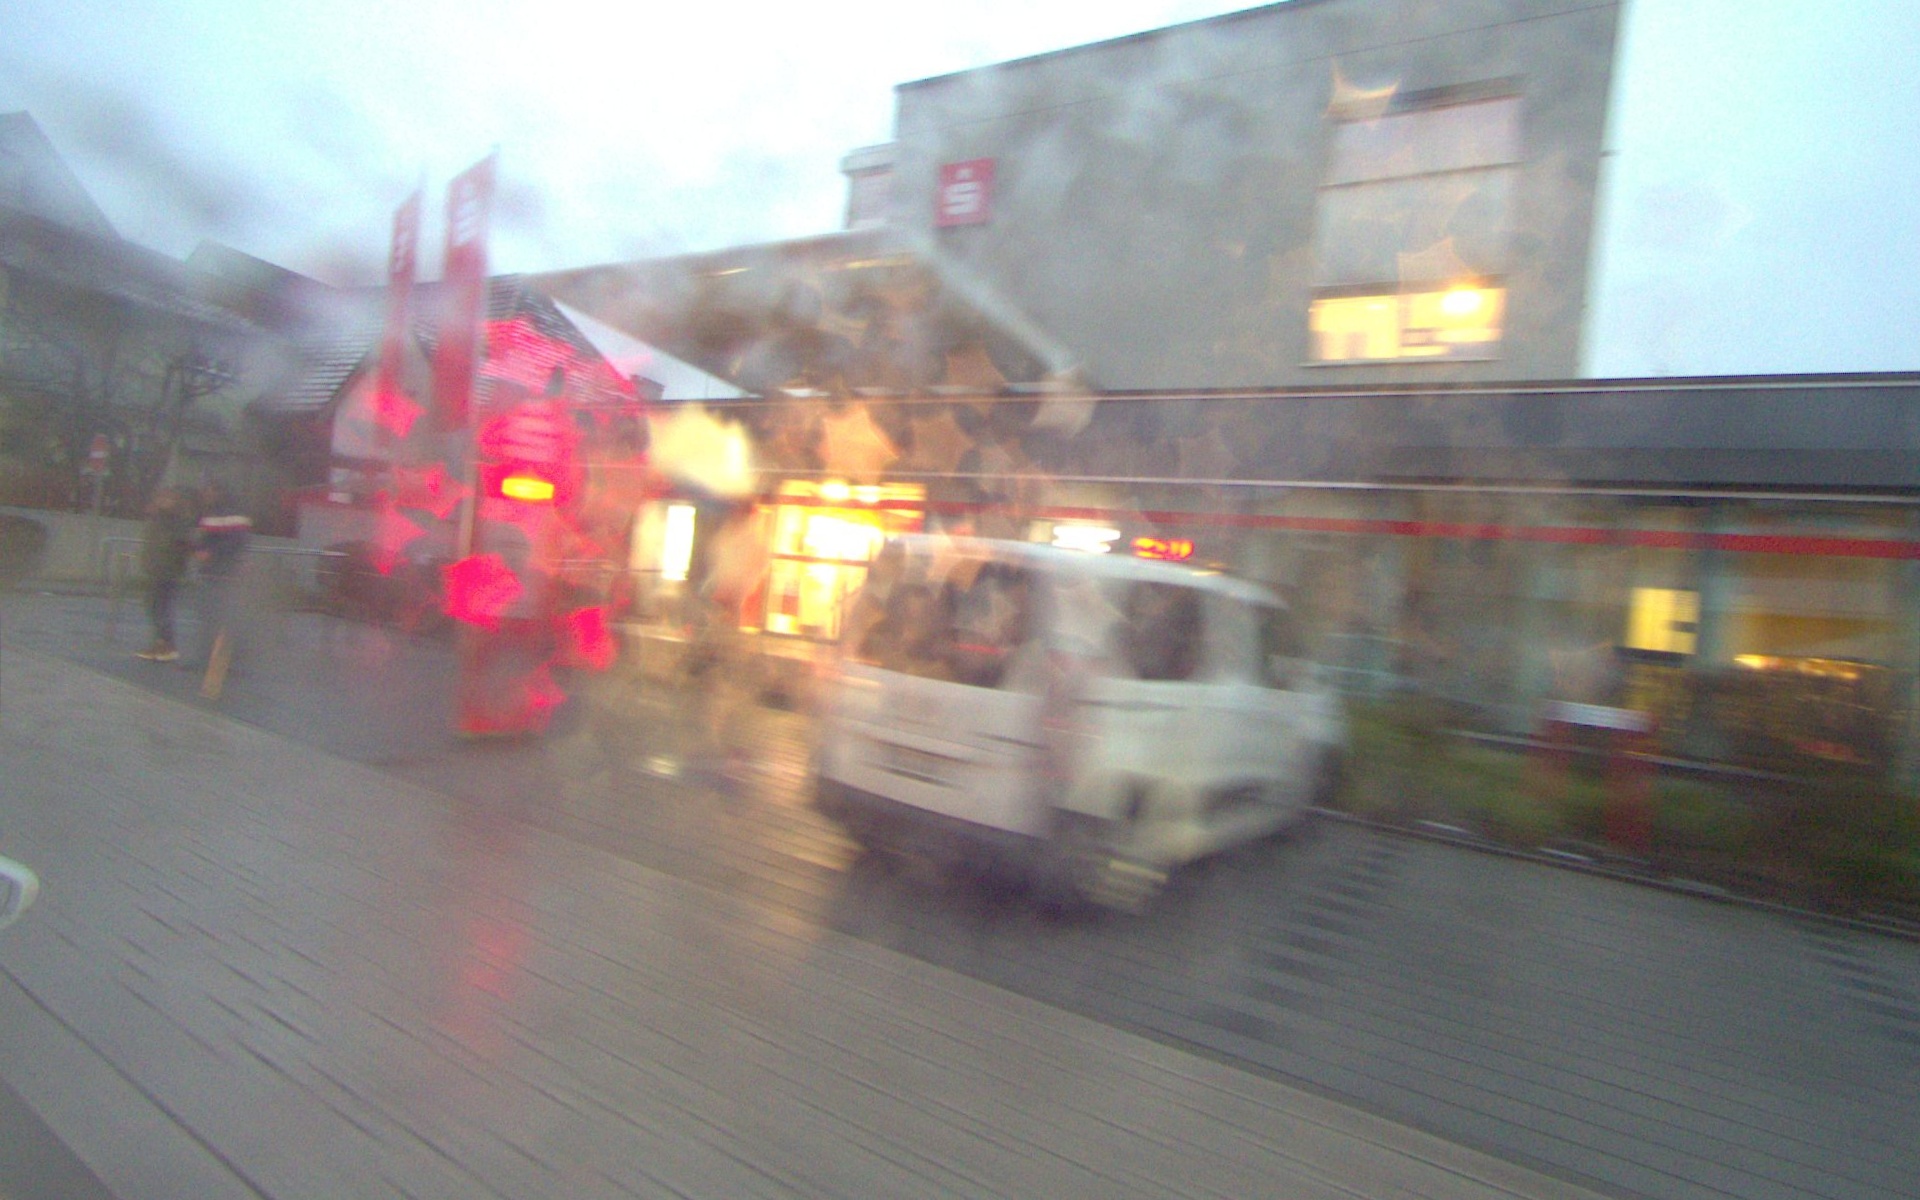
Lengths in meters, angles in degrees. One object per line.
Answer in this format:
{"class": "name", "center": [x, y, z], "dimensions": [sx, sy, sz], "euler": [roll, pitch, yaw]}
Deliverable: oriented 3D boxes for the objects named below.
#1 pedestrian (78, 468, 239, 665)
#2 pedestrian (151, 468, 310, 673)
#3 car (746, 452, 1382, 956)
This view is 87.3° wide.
{"class": "pedestrian", "center": [-7.524, -0.299, 9.457], "dimensions": [0.831, 1.727, 0.837], "euler": [7, 2, 30]}
{"class": "pedestrian", "center": [-6.611, -0.257, 9.128], "dimensions": [0.899, 1.726, 0.705], "euler": [7, 1, 26]}
{"class": "car", "center": [0.963, 0.460, 6.343], "dimensions": [1.970, 2.076, 4.087], "euler": [7, 1, 38]}
